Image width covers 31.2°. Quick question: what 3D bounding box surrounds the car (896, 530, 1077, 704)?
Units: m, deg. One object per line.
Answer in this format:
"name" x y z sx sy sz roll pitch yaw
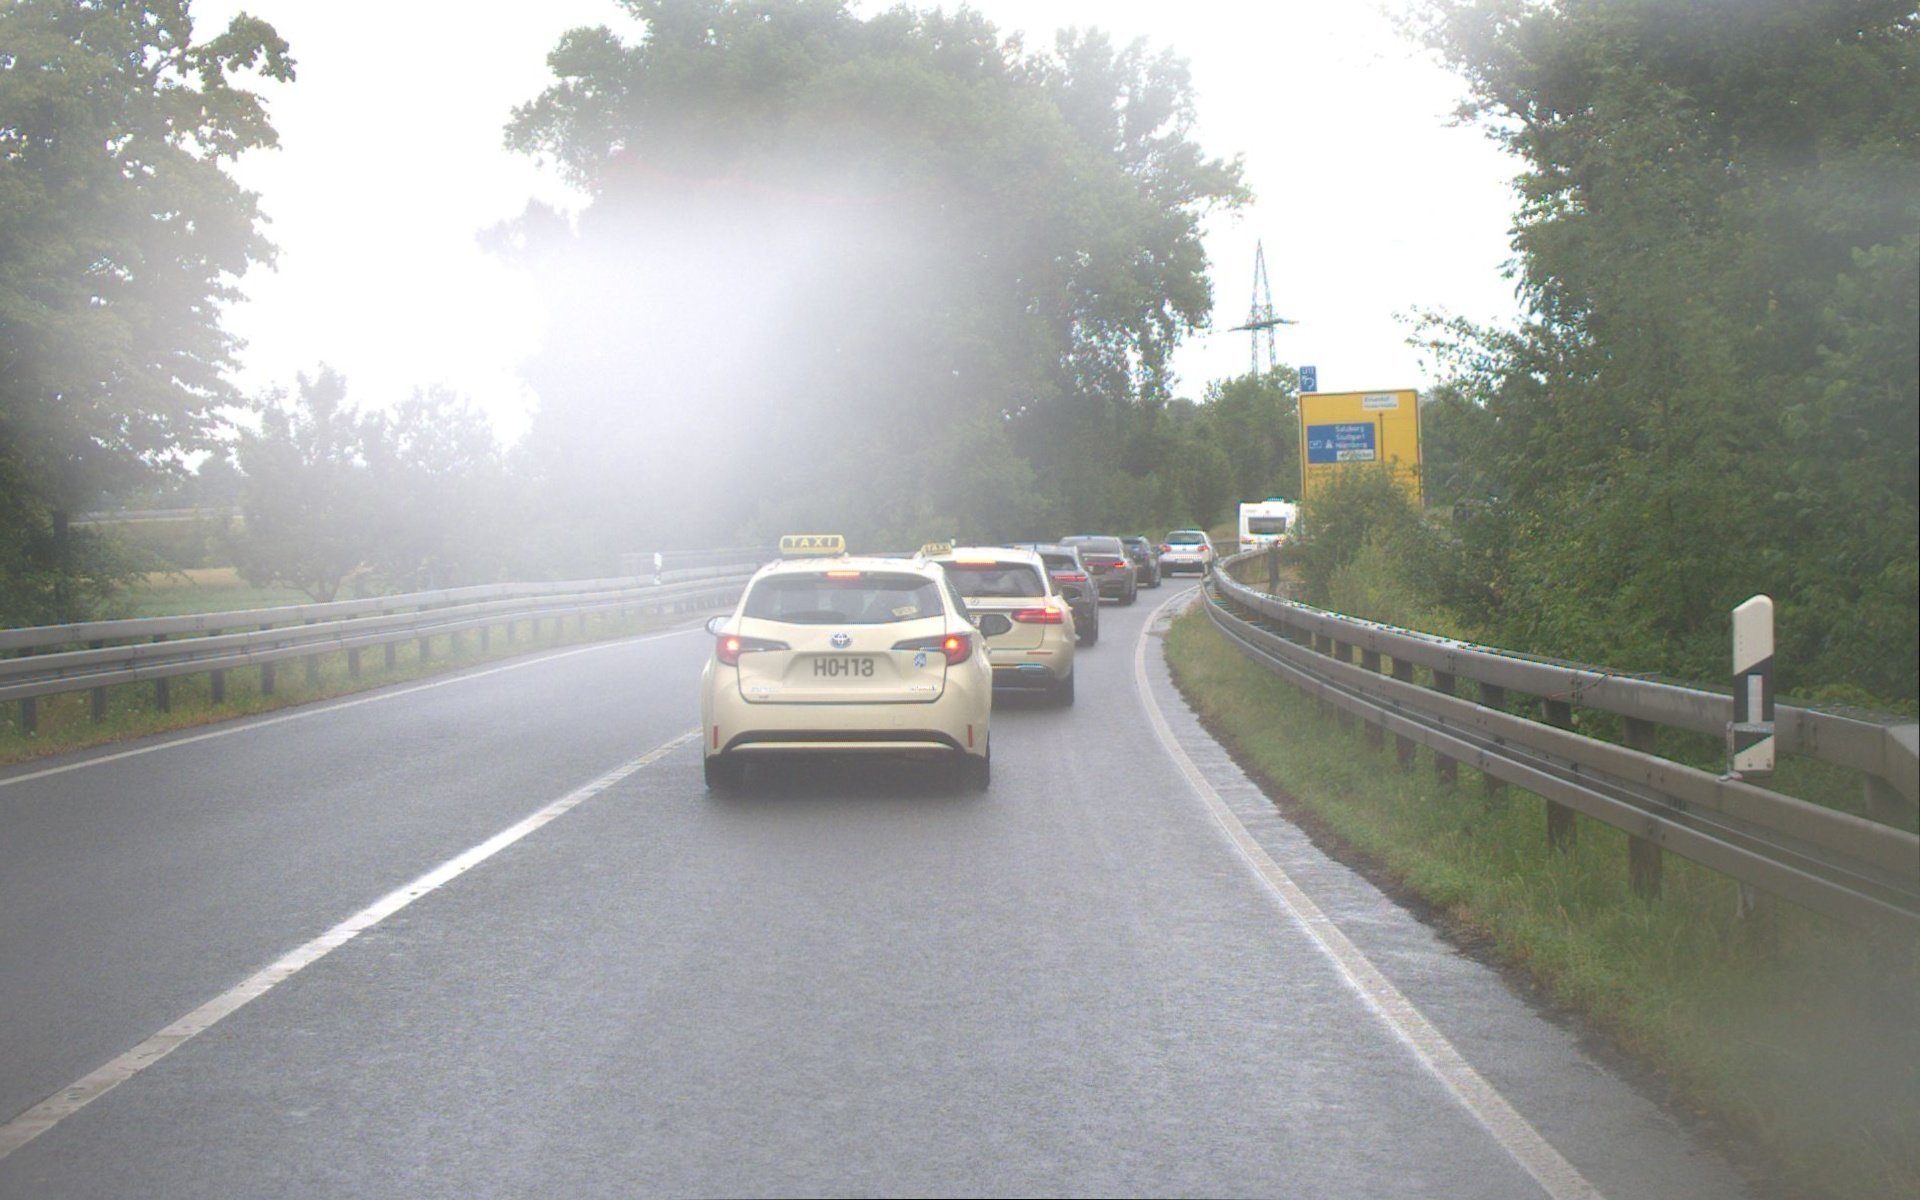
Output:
"car" 0.297 0.124 32.842 1.578 1.567 3.681 0 1 3

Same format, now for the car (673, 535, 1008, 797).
"car" -0.671 0.354 22.219 1.906 1.532 4.161 0 1 2

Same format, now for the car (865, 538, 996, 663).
"car" -0.328 -0.024 41.467 1.506 1.432 3.356 0 1 1

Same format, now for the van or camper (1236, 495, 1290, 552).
"van or camper" 12.362 -3.108 140.134 1.994 2.246 3.999 0 1 8

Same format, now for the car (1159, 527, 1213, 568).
"car" 7.275 -1.679 110.525 1.483 1.304 3.476 0 1 8

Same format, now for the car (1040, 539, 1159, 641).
"car" 2.044 -0.176 51.123 1.665 1.459 3.477 0 1 1

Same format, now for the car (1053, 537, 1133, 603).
"car" 2.937 -0.649 75.142 1.660 1.404 3.904 0 0 4

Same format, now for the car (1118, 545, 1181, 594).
"car" 5.177 -0.838 93.598 1.483 1.304 3.476 0 1 7
